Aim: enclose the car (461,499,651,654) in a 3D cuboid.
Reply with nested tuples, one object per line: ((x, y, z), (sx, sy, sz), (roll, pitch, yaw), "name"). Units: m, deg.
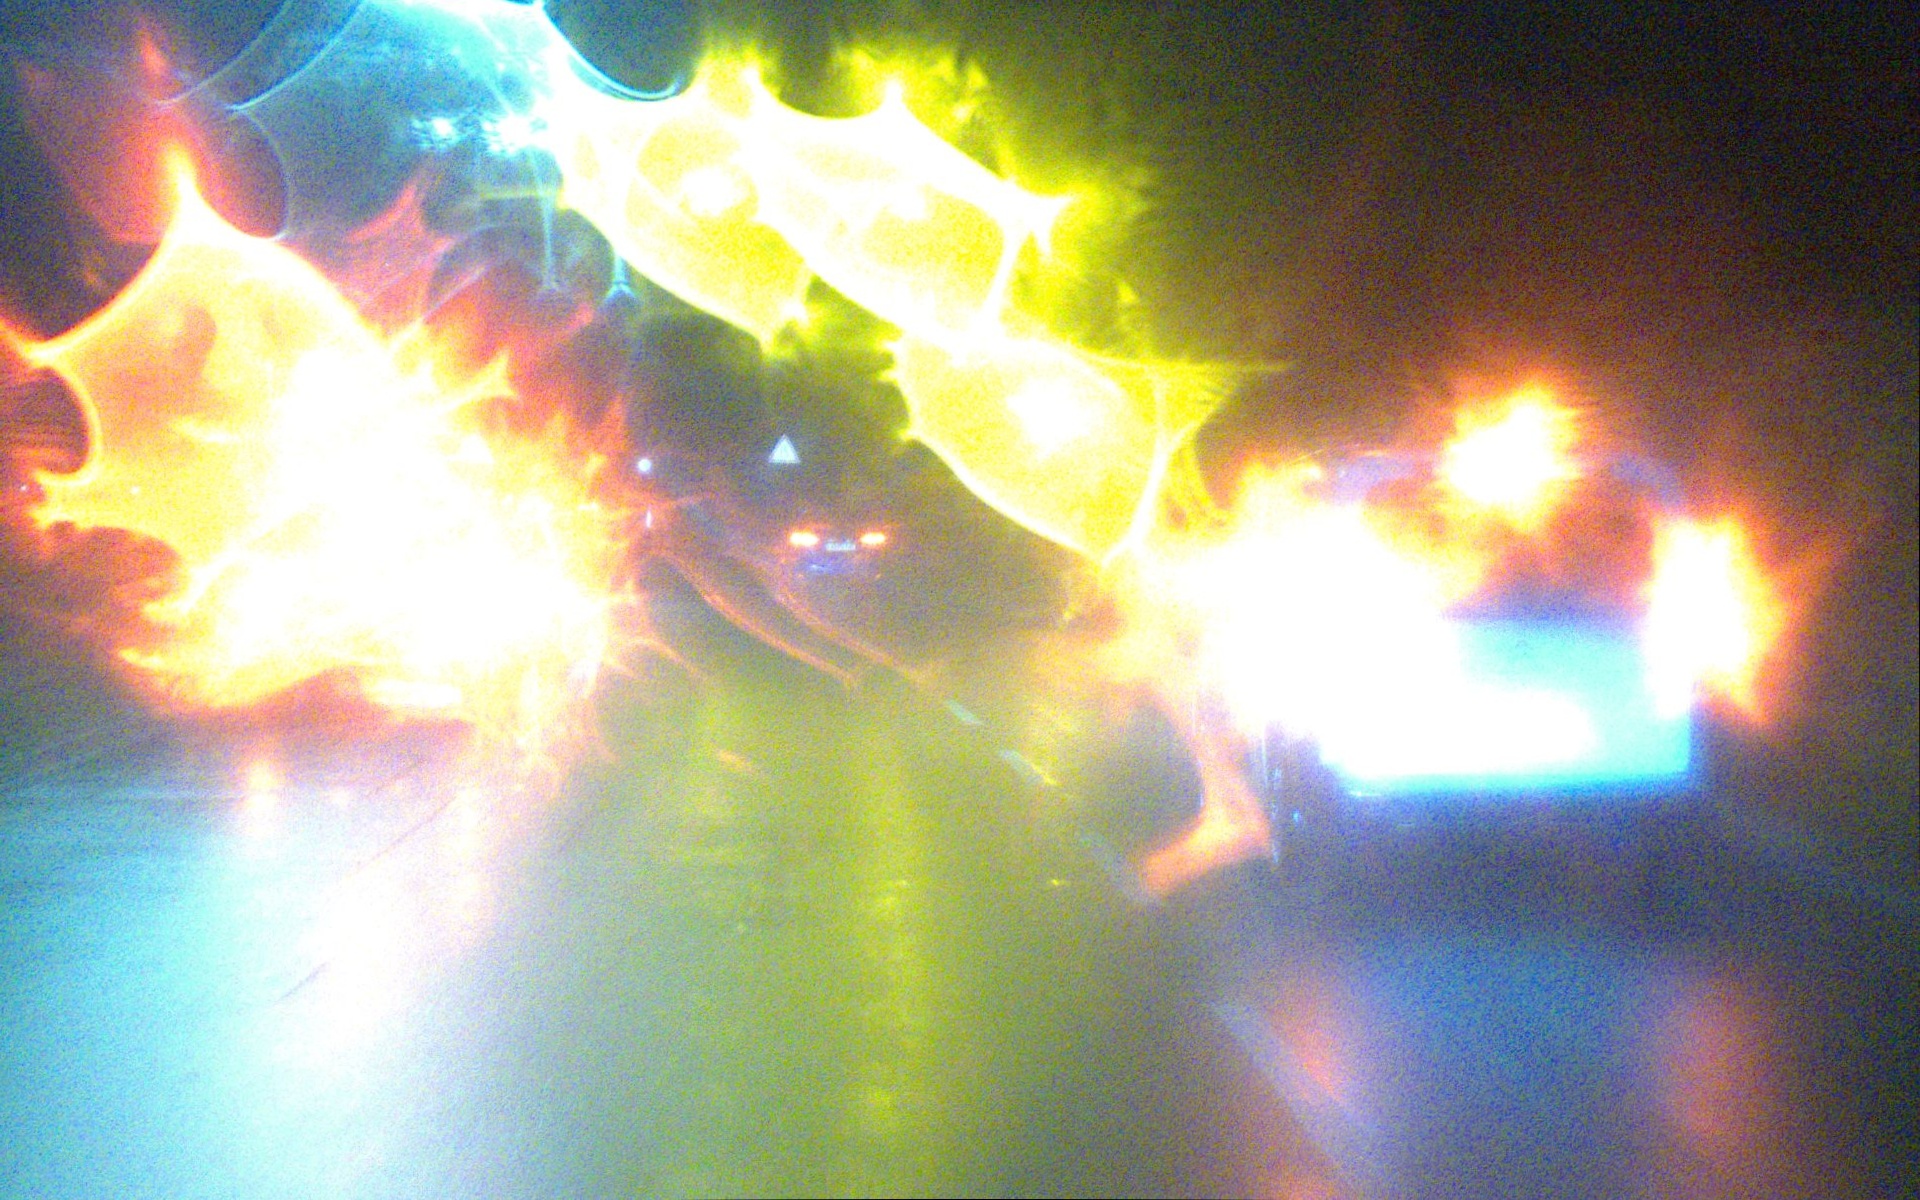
((-4.194, -0.290, 36.234), (1.783, 1.506, 4.437), (-1, 2, -4), "car")

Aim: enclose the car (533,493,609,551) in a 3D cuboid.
((-12.918, -2.572, 114.246), (1.993, 1.711, 4.000), (4, 0, -1), "car")

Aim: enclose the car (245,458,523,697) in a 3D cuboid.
((-4.559, -0.231, 27.762), (1.783, 1.776, 4.437), (0, 2, -4), "car")

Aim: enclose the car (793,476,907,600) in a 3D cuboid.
((-1.908, -1.082, 58.510), (1.791, 2.015, 4.580), (0, 2, -3), "car")

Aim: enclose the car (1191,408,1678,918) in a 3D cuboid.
((2.040, 0.215, 15.981), (1.791, 2.015, 4.579), (1, 1, 2), "car")
